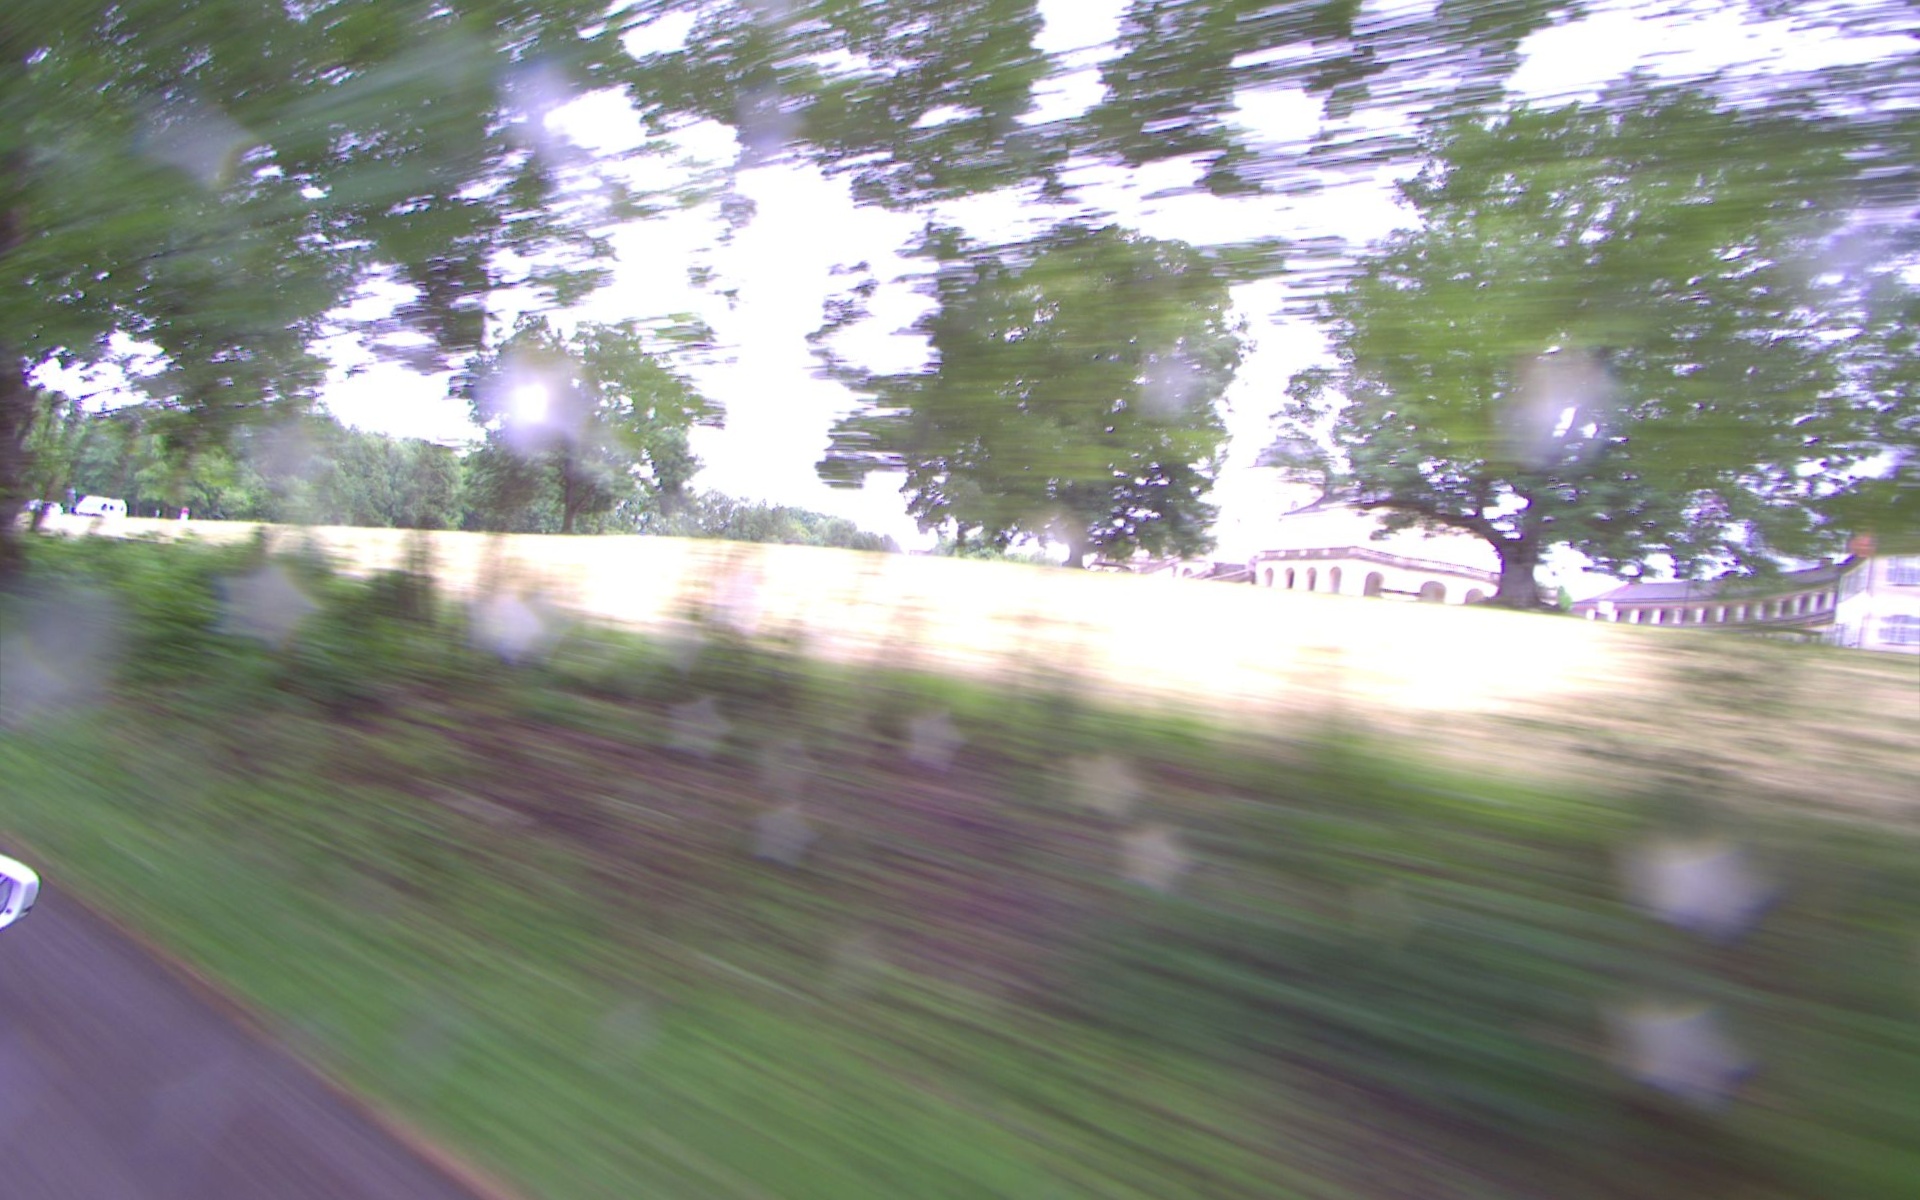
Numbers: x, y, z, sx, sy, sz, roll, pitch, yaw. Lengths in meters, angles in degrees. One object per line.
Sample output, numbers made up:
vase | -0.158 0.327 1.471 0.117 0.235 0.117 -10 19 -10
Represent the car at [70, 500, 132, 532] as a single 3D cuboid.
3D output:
car | -87.052 -8.476 102.056 2.244 2.732 6.028 5 1 -15
